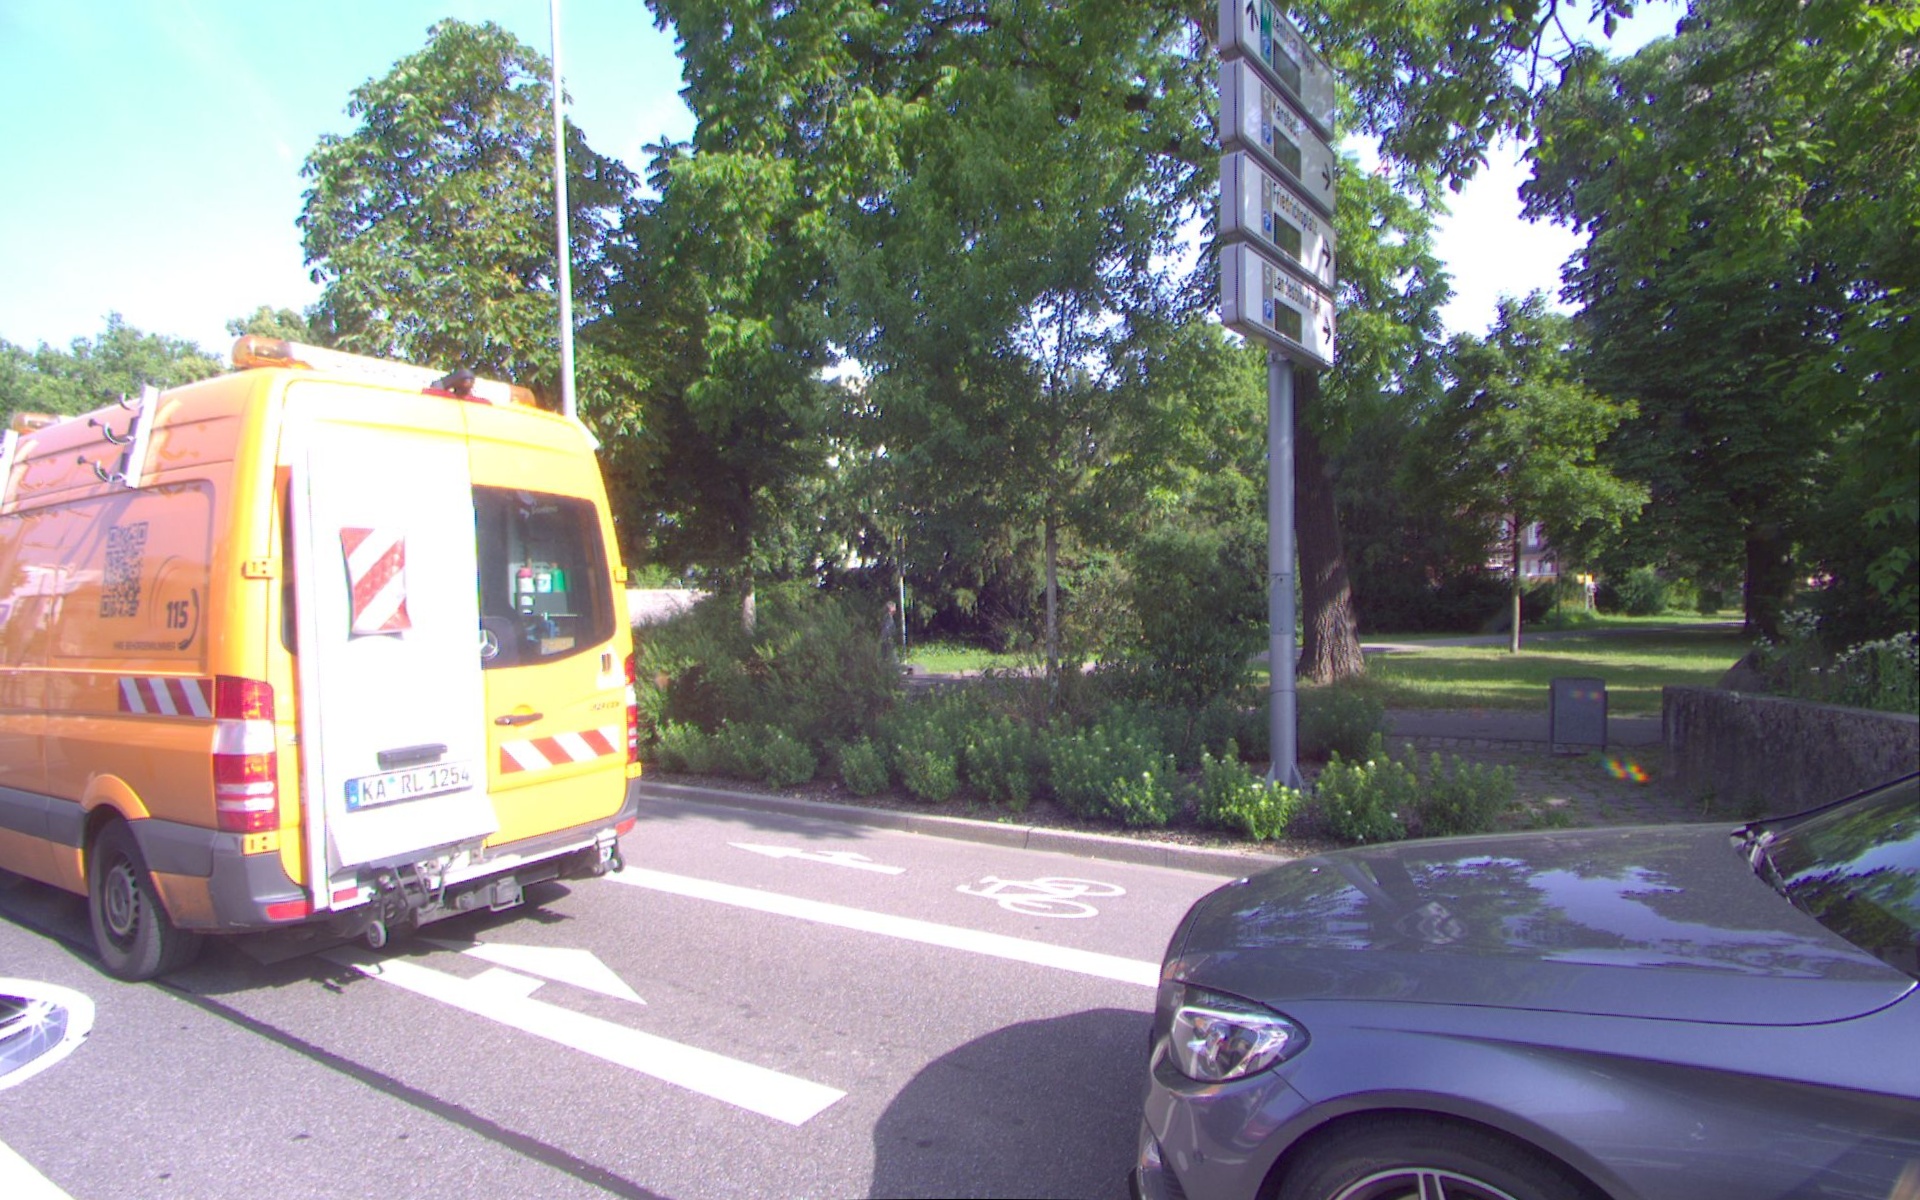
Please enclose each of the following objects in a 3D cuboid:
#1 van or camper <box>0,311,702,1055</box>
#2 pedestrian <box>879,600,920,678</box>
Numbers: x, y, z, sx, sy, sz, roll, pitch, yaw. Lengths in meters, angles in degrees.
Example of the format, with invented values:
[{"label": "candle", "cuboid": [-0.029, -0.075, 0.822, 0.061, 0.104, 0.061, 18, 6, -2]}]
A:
[{"label": "van or camper", "cuboid": [-4.348, 0.366, 5.819, 5.975, 2.504, 1.982, -1, -1, 32]}, {"label": "pedestrian", "cuboid": [-1.227, 0.784, 20.410, 0.659, 1.538, 0.532, -1, 1, -26]}]
